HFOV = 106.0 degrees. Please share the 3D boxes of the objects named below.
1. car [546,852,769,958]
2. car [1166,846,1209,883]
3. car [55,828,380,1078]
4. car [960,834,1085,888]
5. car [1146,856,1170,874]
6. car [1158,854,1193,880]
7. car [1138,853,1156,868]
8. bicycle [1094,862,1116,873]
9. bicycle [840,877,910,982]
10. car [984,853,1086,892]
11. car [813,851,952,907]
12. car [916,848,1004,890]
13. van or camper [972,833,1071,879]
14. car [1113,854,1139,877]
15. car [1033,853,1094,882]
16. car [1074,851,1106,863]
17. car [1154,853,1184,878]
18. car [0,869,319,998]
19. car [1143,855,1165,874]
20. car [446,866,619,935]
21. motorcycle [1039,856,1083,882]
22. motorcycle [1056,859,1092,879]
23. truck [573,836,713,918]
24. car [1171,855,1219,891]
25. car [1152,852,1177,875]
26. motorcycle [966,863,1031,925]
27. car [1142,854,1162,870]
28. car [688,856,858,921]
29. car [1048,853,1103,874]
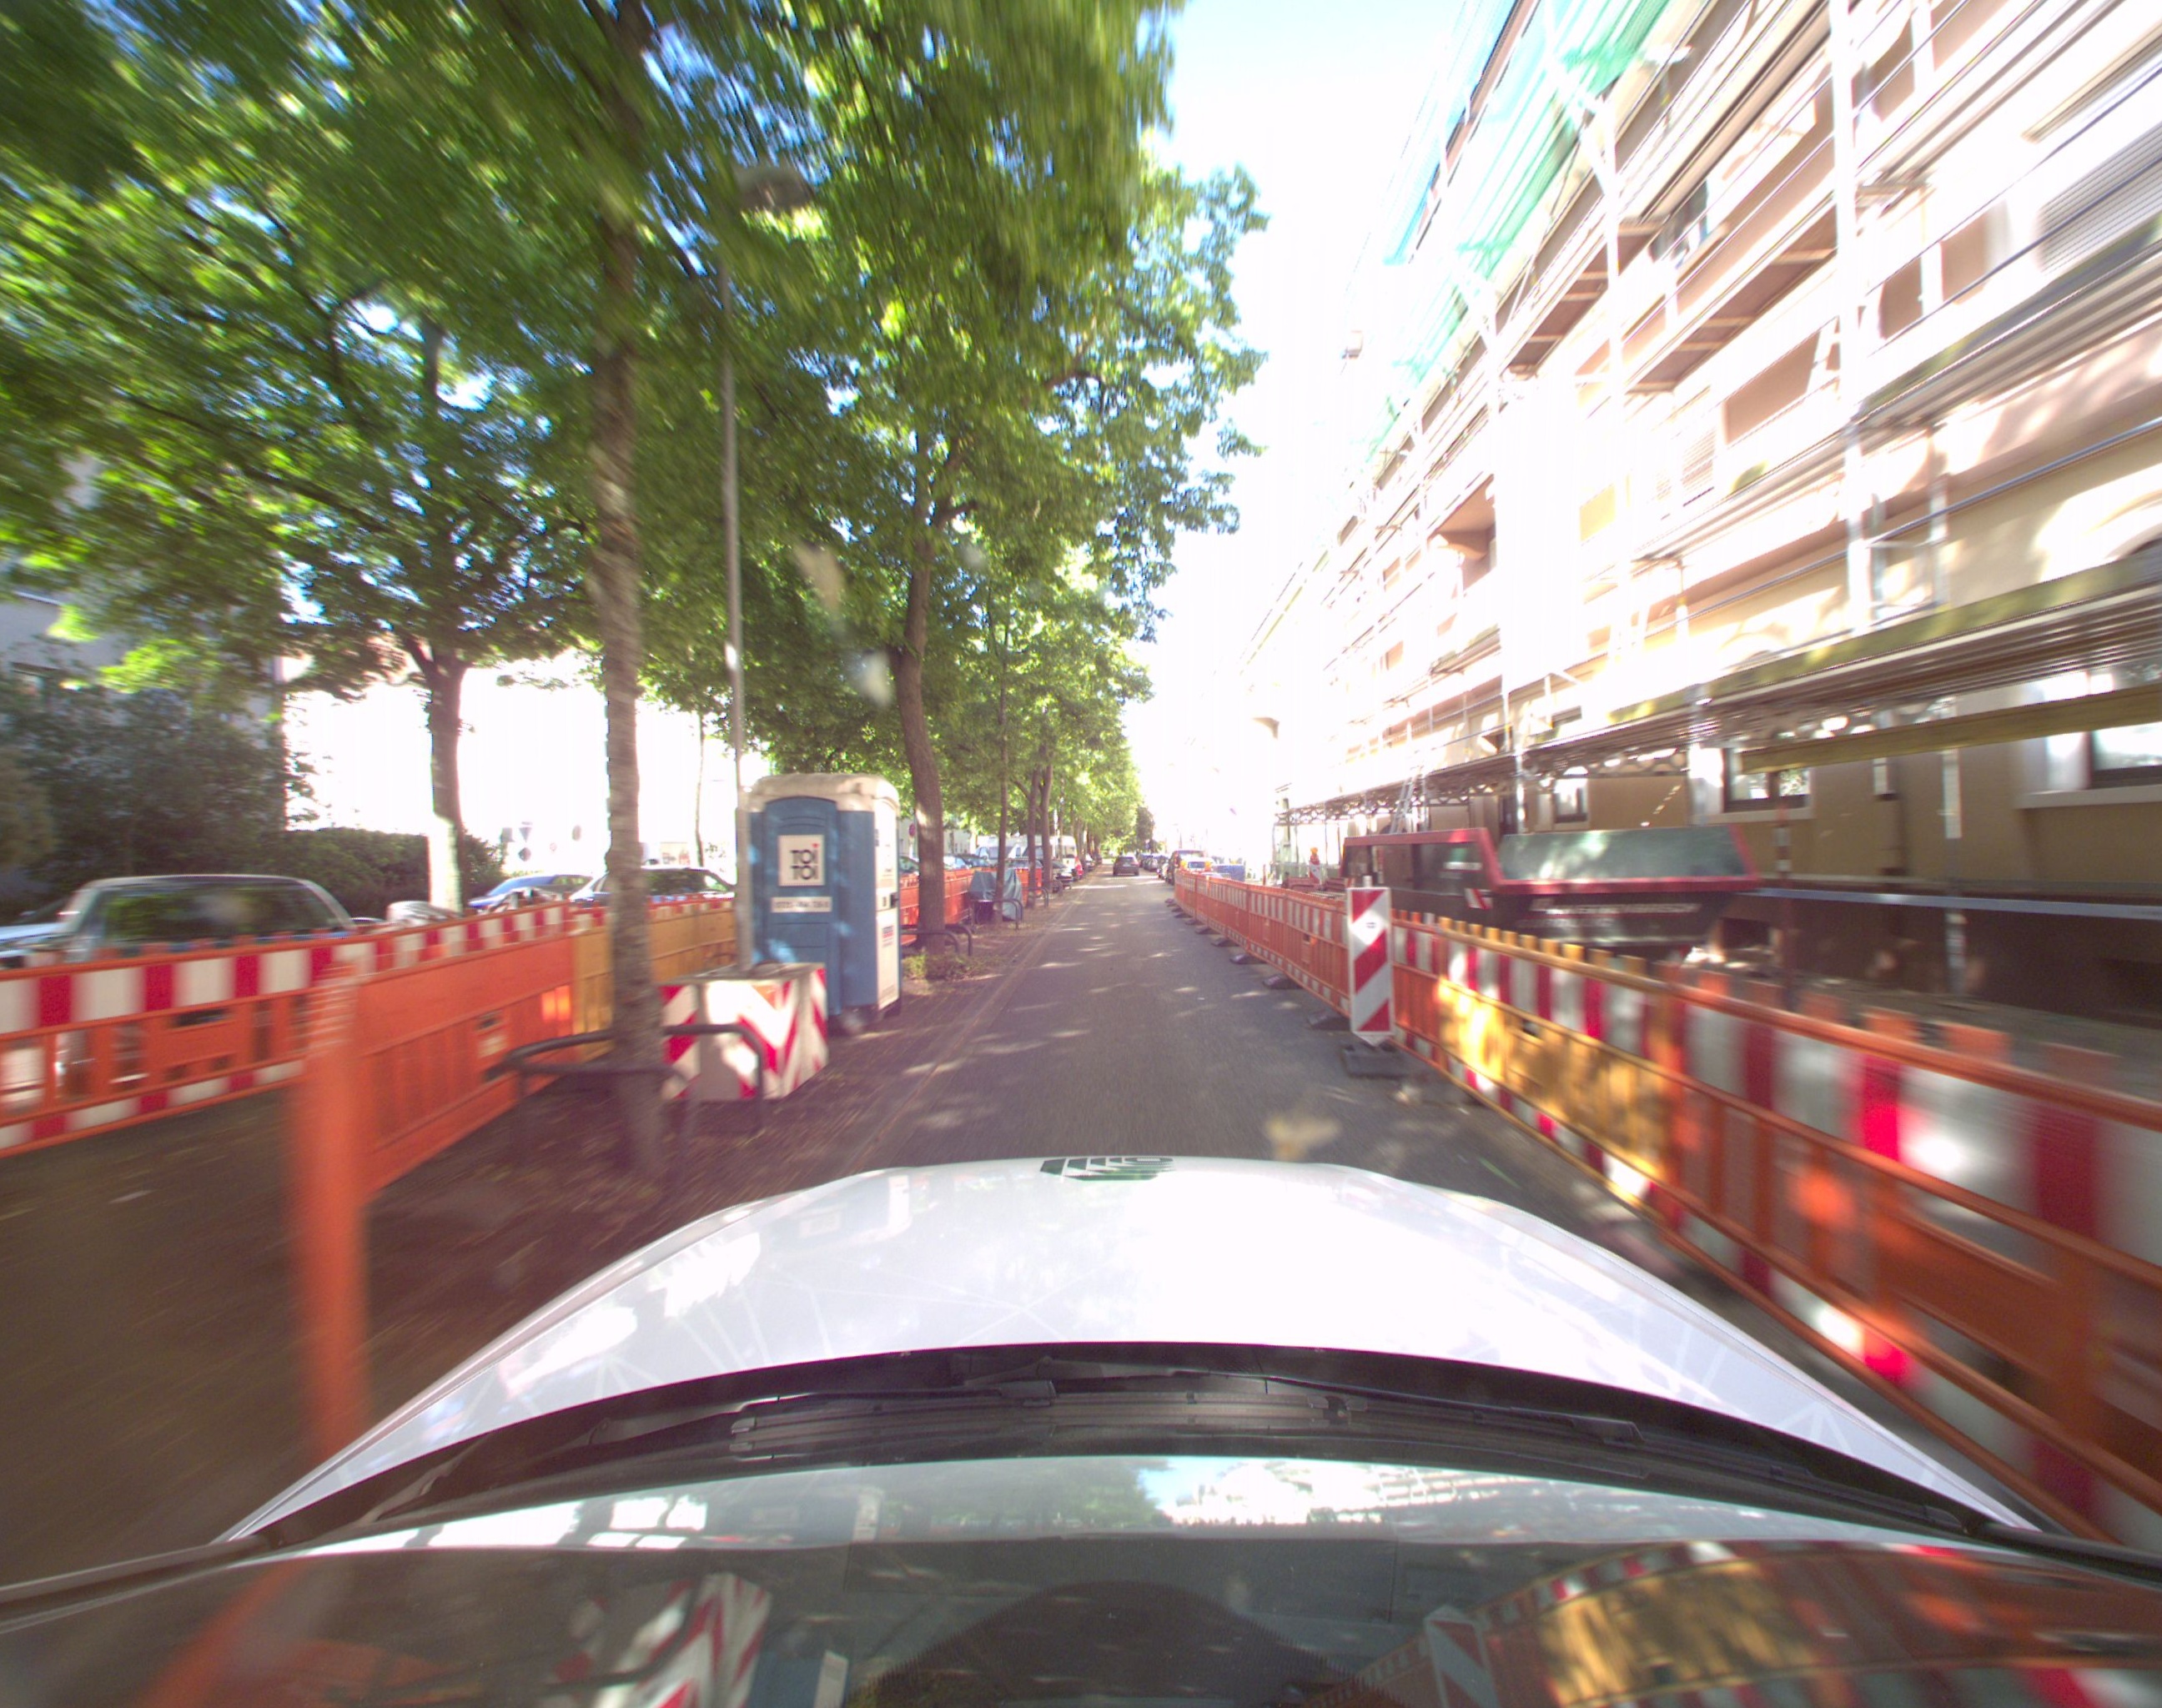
[{"bbox_3d":[-7.168,0.797,13.662,3.948,1.519,1.681,-2,0,36],"label":"car"},{"bbox_3d":[5.471,0.536,42.145,1.765,1.794,3.991,-1,0,1],"label":"car"},{"bbox_3d":[-7.473,0.708,7.004,2.954,1.717,1.431,-2,-1,34],"label":"car"},{"bbox_3d":[-3.053,0.350,41.436,6.246,2.559,2.353,-1,-1,34],"label":"car"},{"bbox_3d":[6.486,0.889,68.568,1.762,1.431,4.293,-2,0,3],"label":"car"},{"bbox_3d":[5.498,0.751,47.751,1.601,1.420,4.570,-1,0,1],"label":"car"},{"bbox_3d":[7.181,0.674,88.878,1.797,1.563,4.325,-2,0,4],"label":"car"},{"bbox_3d":[2.074,1.180,71.382,1.881,0.919,0.381,0,-1,21],"label":"bicycle"},{"bbox_3d":[-2.474,0.866,9.896,0.279,1.156,1.554,0,-1,7],"label":"bicycle"},{"bbox_3d":[-1.976,0.749,34.384,4.047,1.525,1.713,0,2,35],"label":"car"},{"bbox_3d":[-6.340,0.802,26.025,4.082,1.626,1.708,-2,0,25],"label":"car"},{"bbox_3d":[-5.922,0.727,39.526,2.012,1.915,4.330,-1,-1,-44],"label":"car"},{"bbox_3d":[-3.925,0.133,53.252,6.226,2.825,2.423,0,0,31],"label":"van or camper"},{"bbox_3d":[3.231,0.790,58.110,1.707,1.483,4.149,-2,0,4],"label":"car"},{"bbox_3d":[-1.095,0.837,48.520,1.672,1.618,3.836,-2,0,-37],"label":"car"},{"bbox_3d":[1.226,0.421,112.102,4.089,1.466,1.860,1,-1,-11],"label":"car"},{"bbox_3d":[5.735,0.741,53.438,1.593,1.492,3.967,-1,0,1],"label":"car"},{"bbox_3d":[-14.360,1.055,12.285,1.712,1.559,4.116,-2,0,3],"label":"car"},{"bbox_3d":[6.613,0.924,73.727,1.760,1.551,4.186,-2,0,3],"label":"car"},{"bbox_3d":[-14.053,1.125,21.193,1.615,1.574,4.193,0,0,0],"label":"car"},{"bbox_3d":[-1.094,0.811,44.335,2.317,1.335,0.966,1,0,-7],"label":"motorcycle"},{"bbox_3d":[-0.459,0.942,52.179,2.133,1.230,0.884,-1,0,11],"label":"motorcycle"},{"bbox_3d":[-14.031,0.691,26.401,1.913,2.409,4.269,-2,0,4],"label":"truck"},{"bbox_3d":[5.051,0.813,36.574,1.698,1.511,4.286,-2,0,3],"label":"car"},{"bbox_3d":[5.902,0.675,57.751,1.573,1.551,4.045,0,0,4],"label":"car"},{"bbox_3d":[-1.845,0.864,18.573,0.626,1.324,2.239,0,0,18],"label":"motorcycle"},{"bbox_3d":[6.866,0.753,79.080,1.685,1.468,4.007,0,0,2],"label":"car"},{"bbox_3d":[-7.613,0.844,20.133,3.866,1.461,1.586,-2,0,23],"label":"car"},{"bbox_3d":[-0.456,0.755,62.558,3.968,1.474,1.637,-2,0,37],"label":"car"}]
